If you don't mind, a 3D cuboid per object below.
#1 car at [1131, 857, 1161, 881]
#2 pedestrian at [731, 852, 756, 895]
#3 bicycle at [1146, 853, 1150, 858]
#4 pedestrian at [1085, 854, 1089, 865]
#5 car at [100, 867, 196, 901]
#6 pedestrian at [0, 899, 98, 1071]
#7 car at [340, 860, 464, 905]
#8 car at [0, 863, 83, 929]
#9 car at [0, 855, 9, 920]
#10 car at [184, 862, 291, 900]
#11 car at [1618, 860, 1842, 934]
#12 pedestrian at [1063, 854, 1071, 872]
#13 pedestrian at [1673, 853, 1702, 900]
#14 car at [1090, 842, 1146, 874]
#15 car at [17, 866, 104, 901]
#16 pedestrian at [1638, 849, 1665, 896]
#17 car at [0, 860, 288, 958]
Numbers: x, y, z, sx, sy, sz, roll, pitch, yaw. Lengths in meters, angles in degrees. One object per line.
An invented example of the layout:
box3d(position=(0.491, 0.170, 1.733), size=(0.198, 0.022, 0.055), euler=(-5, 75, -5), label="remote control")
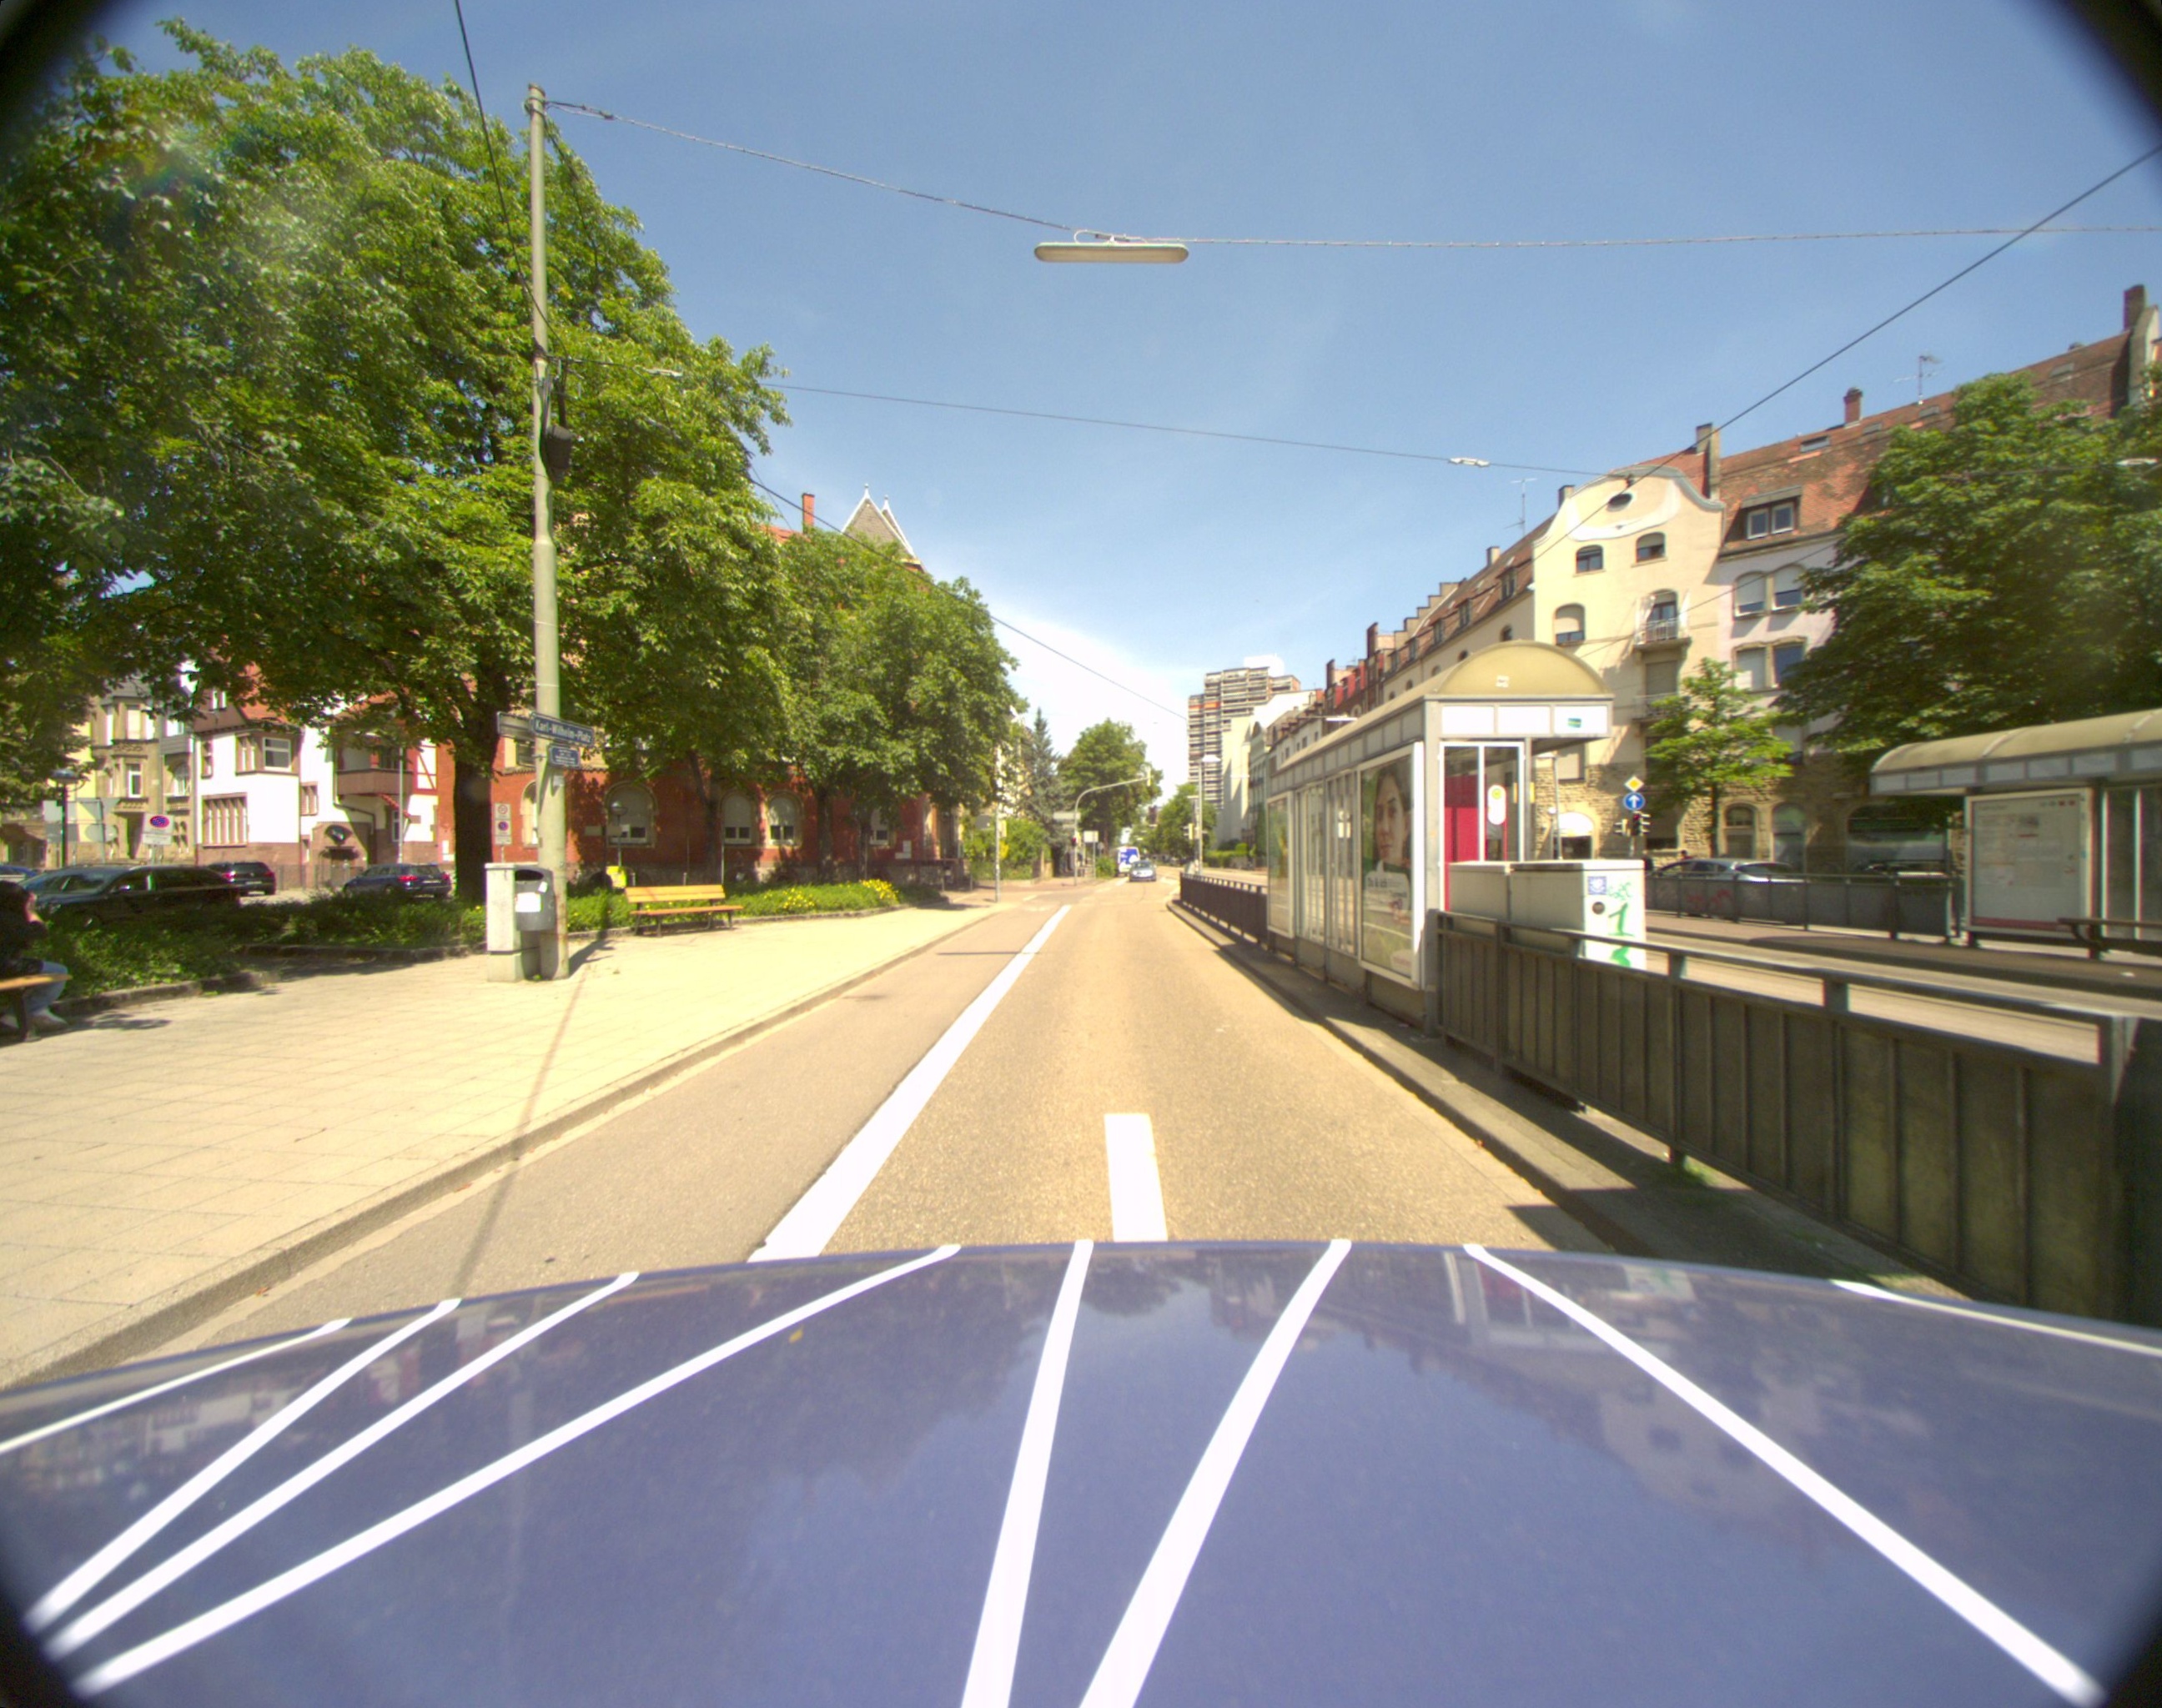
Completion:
box3d(position=(4.329, 0.961, 50.864), size=(1.895, 1.372, 4.001), euler=(-2, 1, 5), label="car")
box3d(position=(-14.461, 0.814, 32.580), size=(0.840, 1.813, 0.672), euler=(-1, 1, -37), label="pedestrian")
box3d(position=(18.752, 0.462, 212.587), size=(0.644, 1.503, 1.970), euler=(-2, 1, -2), label="bicycle")
box3d(position=(1.083, 0.957, 132.161), size=(0.686, 1.732, 0.660), euler=(-2, 1, 3), label="pedestrian")
box3d(position=(-48.417, 1.566, 39.429), size=(4.299, 1.608, 1.941), euler=(-2, 1, 23), label="car")
box3d(position=(-7.736, 0.911, 5.414), size=(0.566, 1.136, 0.725), euler=(0, 1, -16), label="pedestrian")
box3d(position=(-27.038, 1.127, 30.282), size=(4.299, 1.608, 1.941), euler=(-2, 1, 23), label="car")
box3d(position=(-32.837, 1.298, 22.022), size=(1.934, 1.869, 4.315), euler=(-2, 1, 23), label="car")
box3d(position=(-37.654, 1.198, 23.789), size=(1.934, 2.178, 4.315), euler=(-2, 1, 23), label="car")
box3d(position=(-39.584, 1.269, 35.661), size=(4.299, 1.608, 1.941), euler=(-2, 1, 23), label="car")
box3d(position=(14.844, 0.901, 17.723), size=(1.812, 1.386, 3.999), euler=(-2, 1, 1), label="car")
box3d(position=(-1.267, 0.783, 68.523), size=(0.702, 1.645, 0.665), euler=(0, 0, 1), label="pedestrian")
box3d(position=(20.293, 0.741, 25.422), size=(0.594, 1.542, 0.474), euler=(0, 0, -1), label="pedestrian")
box3d(position=(3.189, 0.342, 66.827), size=(2.277, 2.658, 5.815), euler=(-3, 1, -26), label="car")
box3d(position=(-59.173, 1.704, 44.073), size=(4.299, 1.862, 1.941), euler=(-2, 1, 23), label="car")
box3d(position=(20.115, 0.648, 26.791), size=(0.594, 1.637, 0.474), euler=(0, 0, 1), label="pedestrian")
box3d(position=(-19.102, 0.992, 15.350), size=(1.938, 1.608, 4.520), euler=(-2, 1, -11), label="car")
